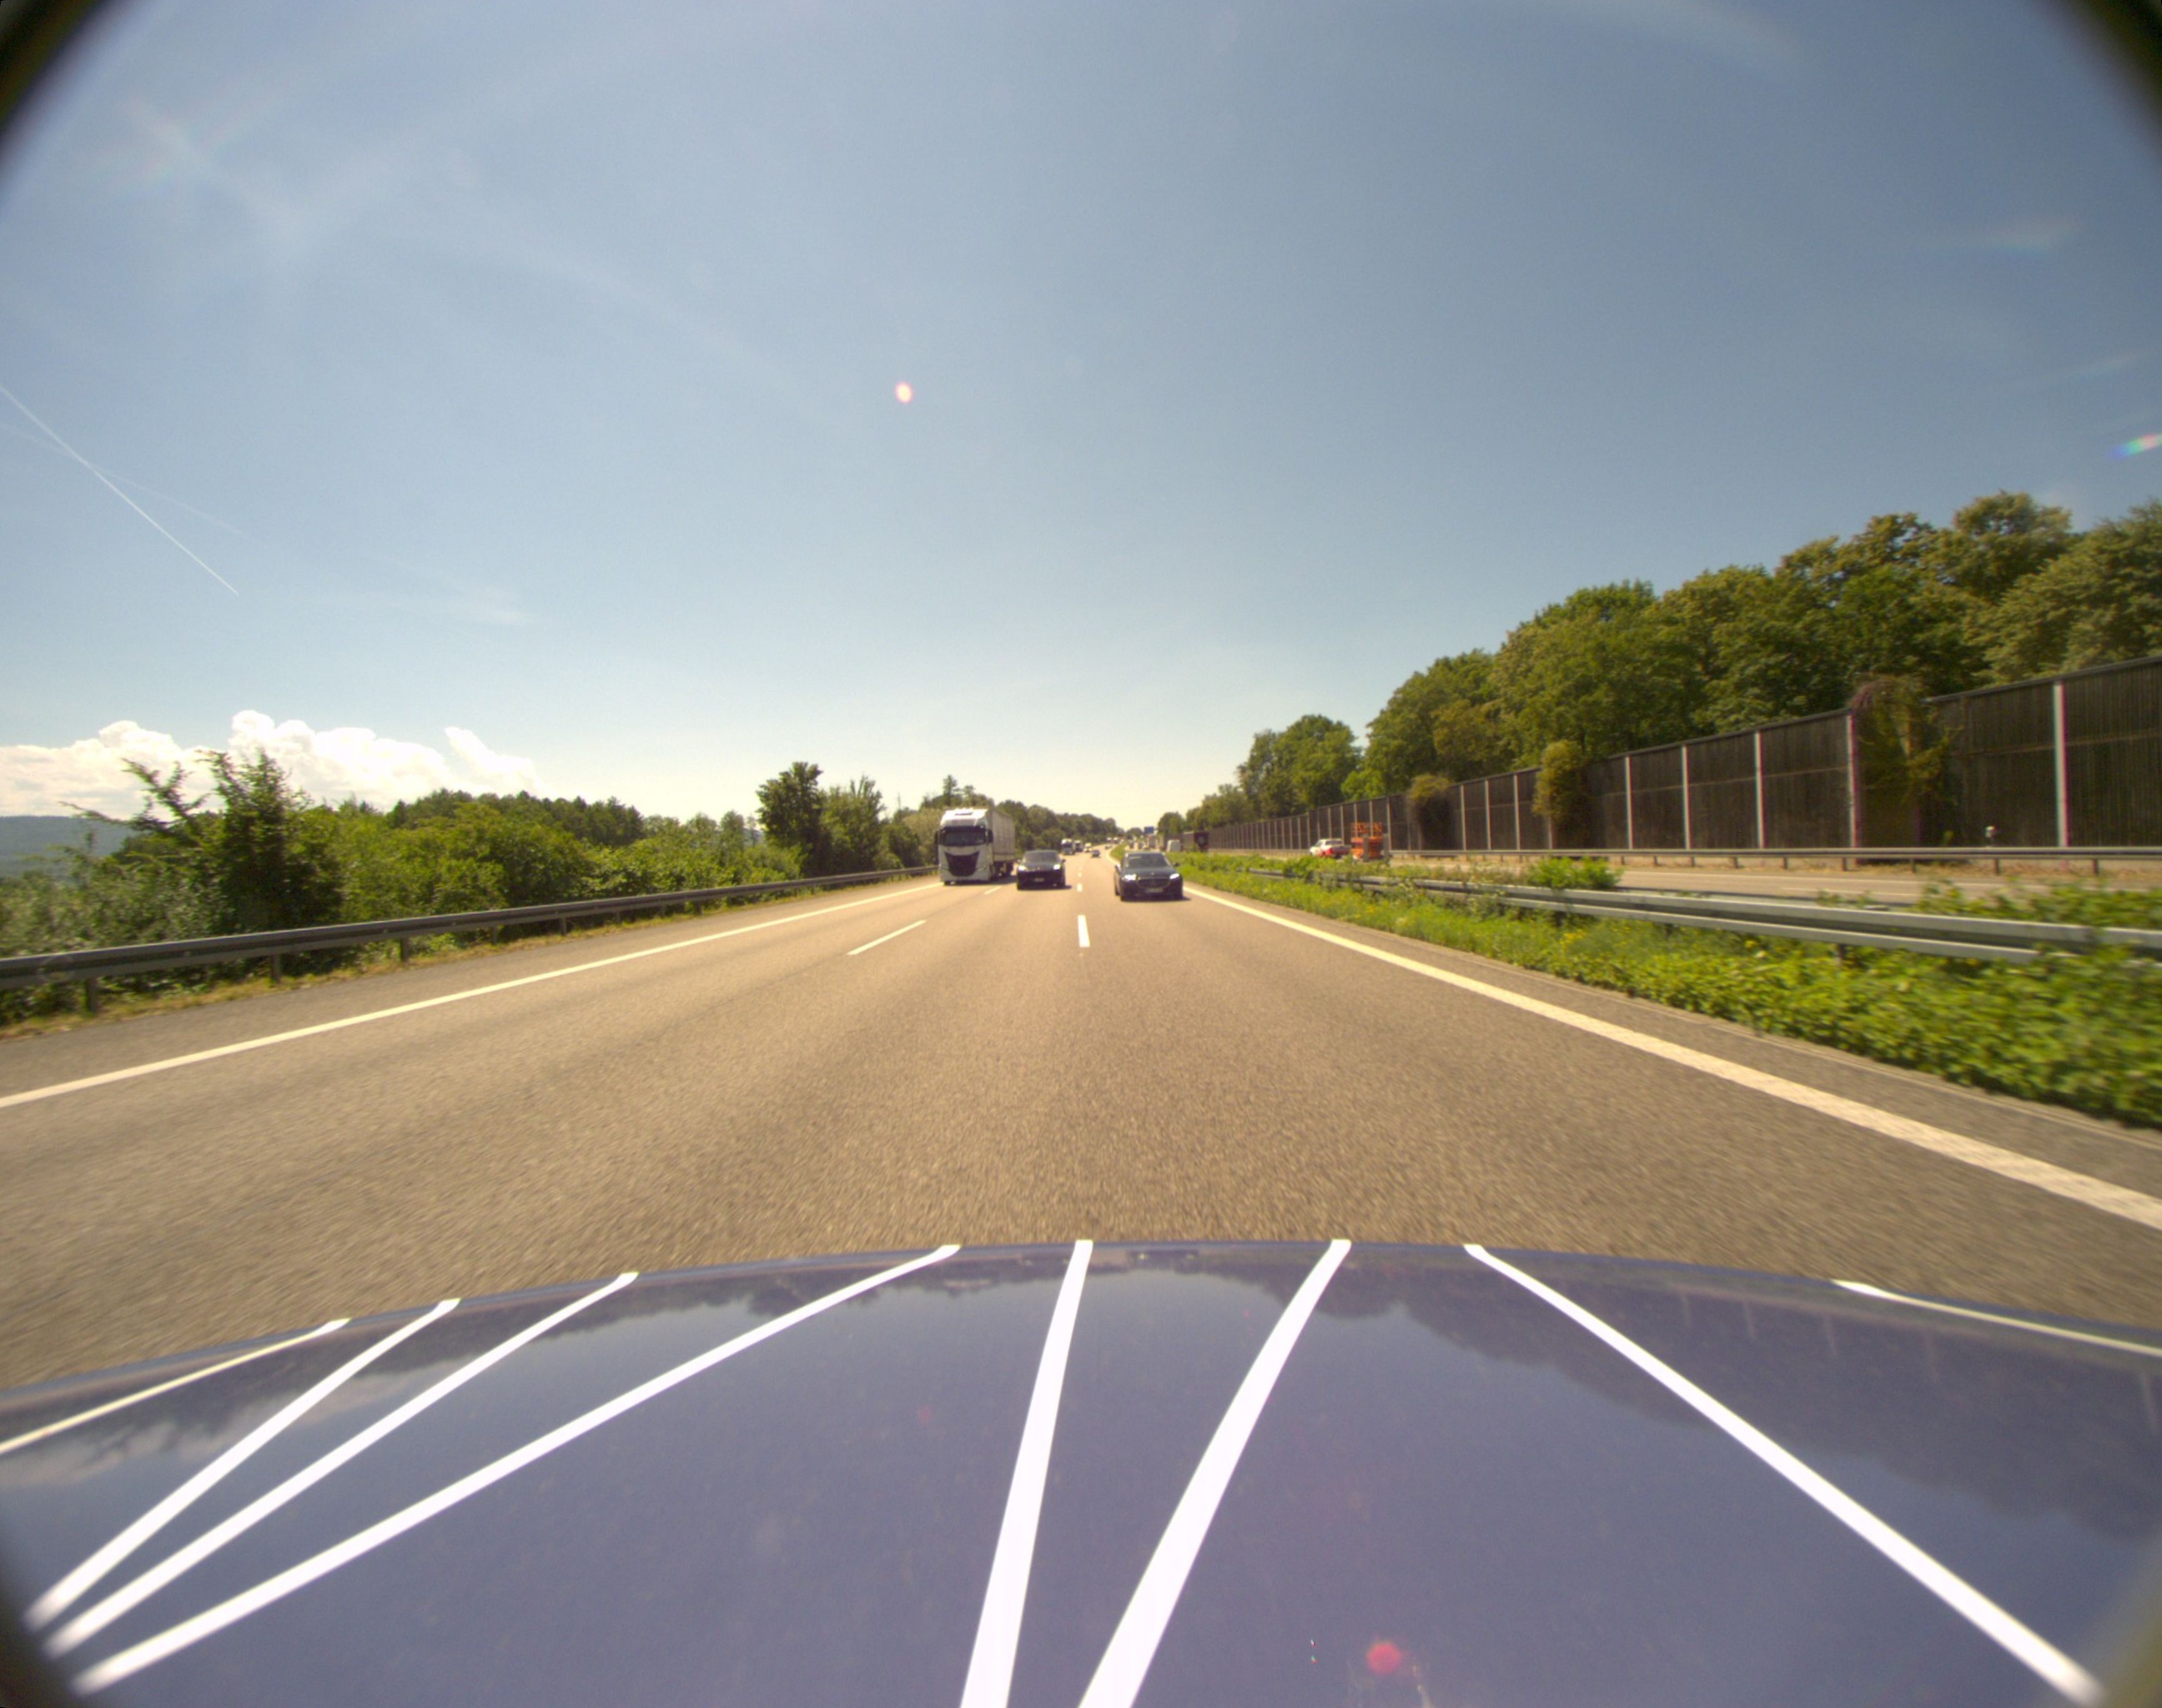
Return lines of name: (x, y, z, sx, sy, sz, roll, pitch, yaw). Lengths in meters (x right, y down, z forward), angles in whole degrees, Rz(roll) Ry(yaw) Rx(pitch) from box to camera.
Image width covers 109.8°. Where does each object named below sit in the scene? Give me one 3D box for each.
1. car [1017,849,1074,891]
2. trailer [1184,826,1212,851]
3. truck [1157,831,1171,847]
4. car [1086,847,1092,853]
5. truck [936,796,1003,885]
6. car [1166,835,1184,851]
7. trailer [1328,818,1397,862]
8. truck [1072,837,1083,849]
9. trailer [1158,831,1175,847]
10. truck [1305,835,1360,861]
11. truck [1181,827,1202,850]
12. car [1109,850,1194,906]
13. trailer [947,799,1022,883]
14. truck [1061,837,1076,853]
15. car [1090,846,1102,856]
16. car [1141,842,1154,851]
car: (-1.485, 0.640, 34.094, 2.048, 1.616, 5.772, -2, 1, 2)
trailer: (20.727, -2.779, 135.246, 2.906, 4.069, 13.330, -2, 1, 0)
truck: (22.452, -4.024, 205.061, 2.959, 4.006, 6.595, -2, 1, 1)
car: (2.441, -1.291, 233.100, 1.909, 1.717, 4.870, -2, 1, 2)
truck: (-5.925, -0.713, 41.327, 2.542, 4.446, 5.572, -2, 1, 1)
car: (16.192, -1.813, 131.435, 2.170, 2.526, 6.788, -4, 0, 0)
trailer: (19.140, -0.909, 52.103, 2.248, 2.760, 6.508, -2, 1, 0)
truck: (-1.174, -3.526, 248.233, 3.074, 3.618, 12.401, -2, 1, 2)
trailer: (22.363, -3.962, 198.833, 2.969, 4.006, 13.805, -2, 1, 1)
truck: (19.246, -0.482, 58.480, 2.106, 1.805, 6.210, -2, 1, 0)
truck: (20.767, -2.870, 142.630, 2.906, 4.069, 6.116, -2, 1, 0)
car: (2.110, 0.655, 24.457, 1.949, 1.498, 5.819, -2, 1, -2)
trailer: (-5.806, -0.805, 48.409, 2.542, 4.446, 14.159, -2, 1, 1)
truck: (-3.219, -2.288, 193.445, 3.074, 3.618, 12.401, -2, 1, 2)
car: (2.749, -0.487, 137.820, 1.909, 1.717, 4.375, -2, 1, 2)
car: (12.837, -1.418, 146.585, 2.000, 1.710, 5.023, -4, 0, 0)
